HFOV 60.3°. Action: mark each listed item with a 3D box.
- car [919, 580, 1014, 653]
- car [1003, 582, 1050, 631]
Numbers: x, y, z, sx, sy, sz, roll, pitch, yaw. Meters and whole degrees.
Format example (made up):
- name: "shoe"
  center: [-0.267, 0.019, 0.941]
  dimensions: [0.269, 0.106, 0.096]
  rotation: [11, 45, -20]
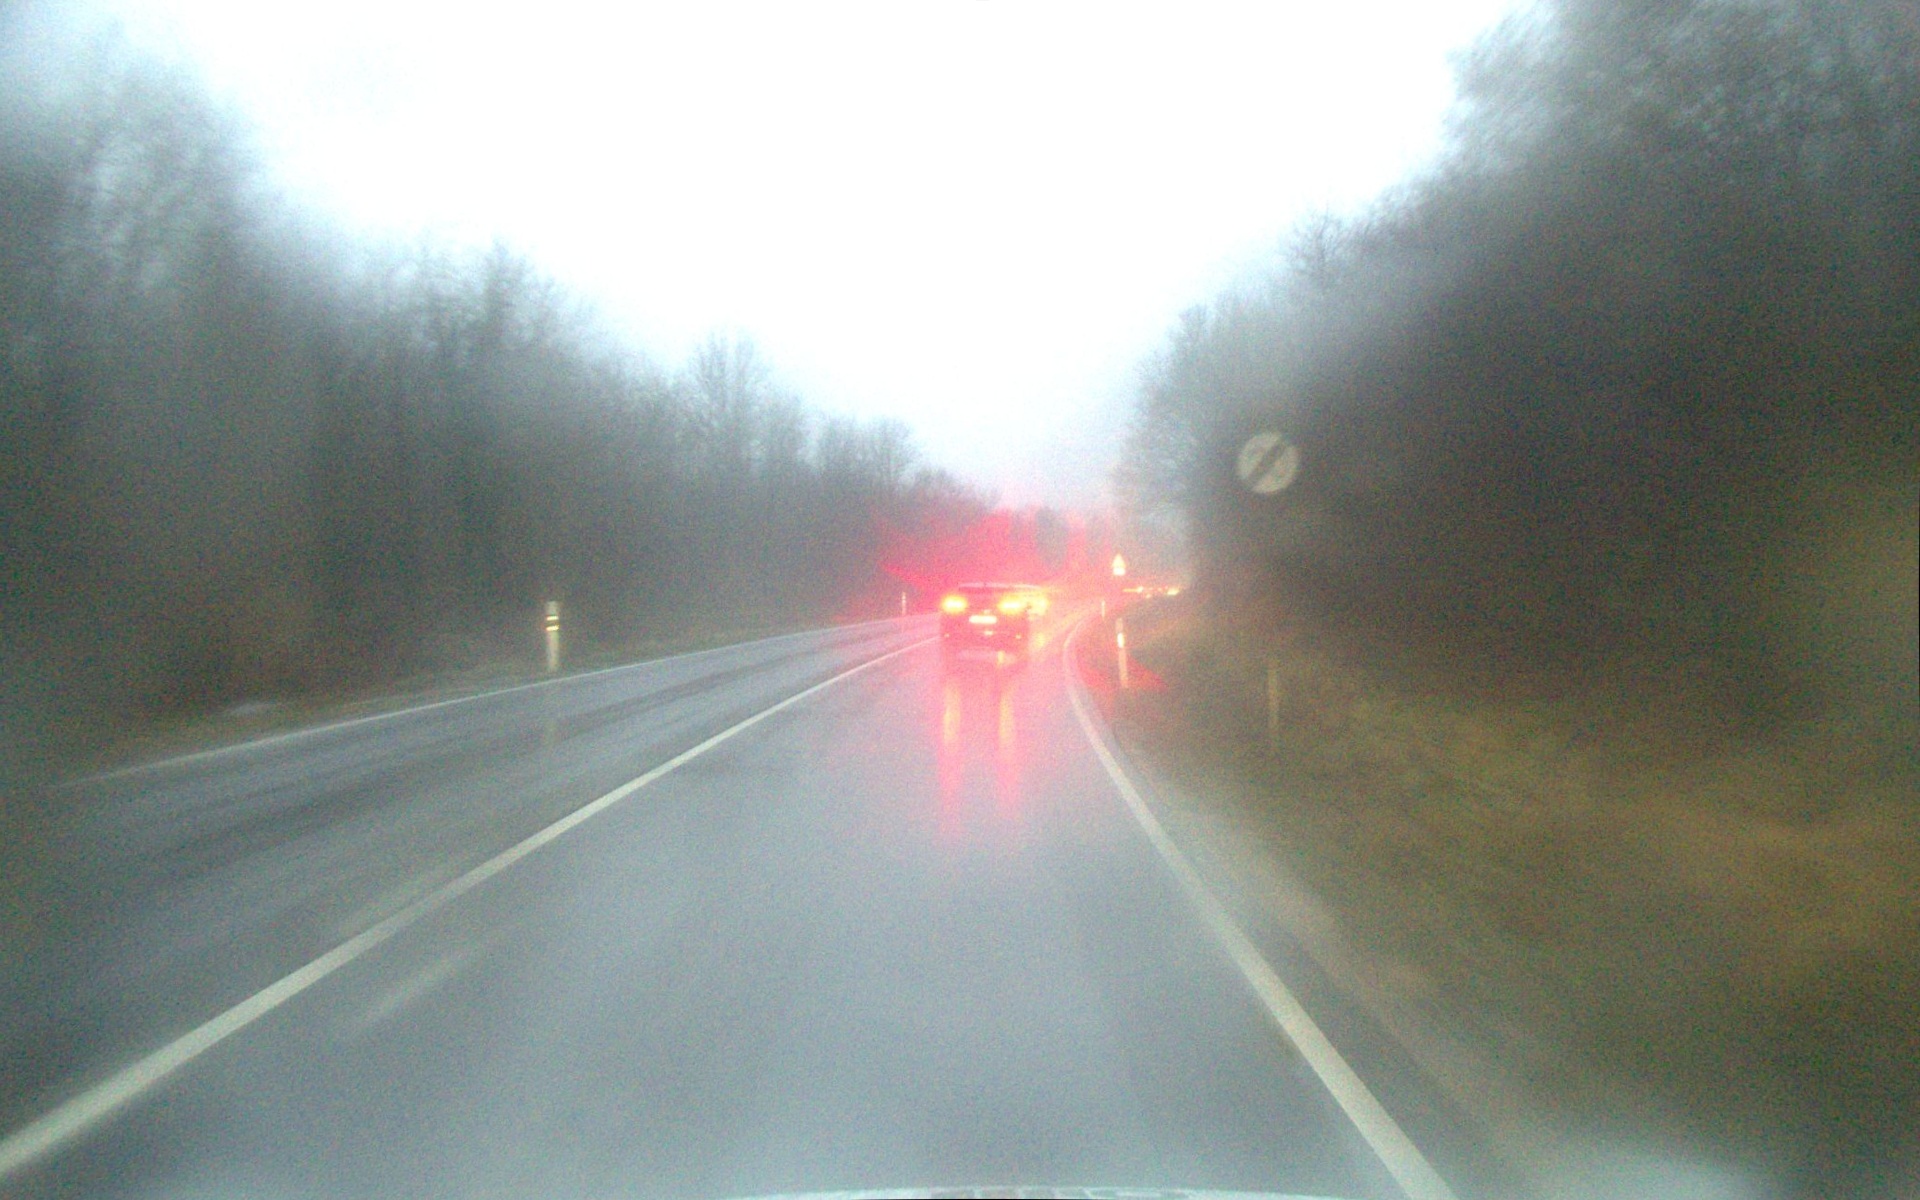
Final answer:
- name: "car"
  center: [0.181, 0.303, 33.744]
  dimensions: [1.643, 1.414, 4.100]
  rotation: [0, 0, 4]
- name: "car"
  center: [2.395, 0.199, 59.413]
  dimensions: [1.644, 1.704, 4.099]
  rotation: [0, 0, 2]
